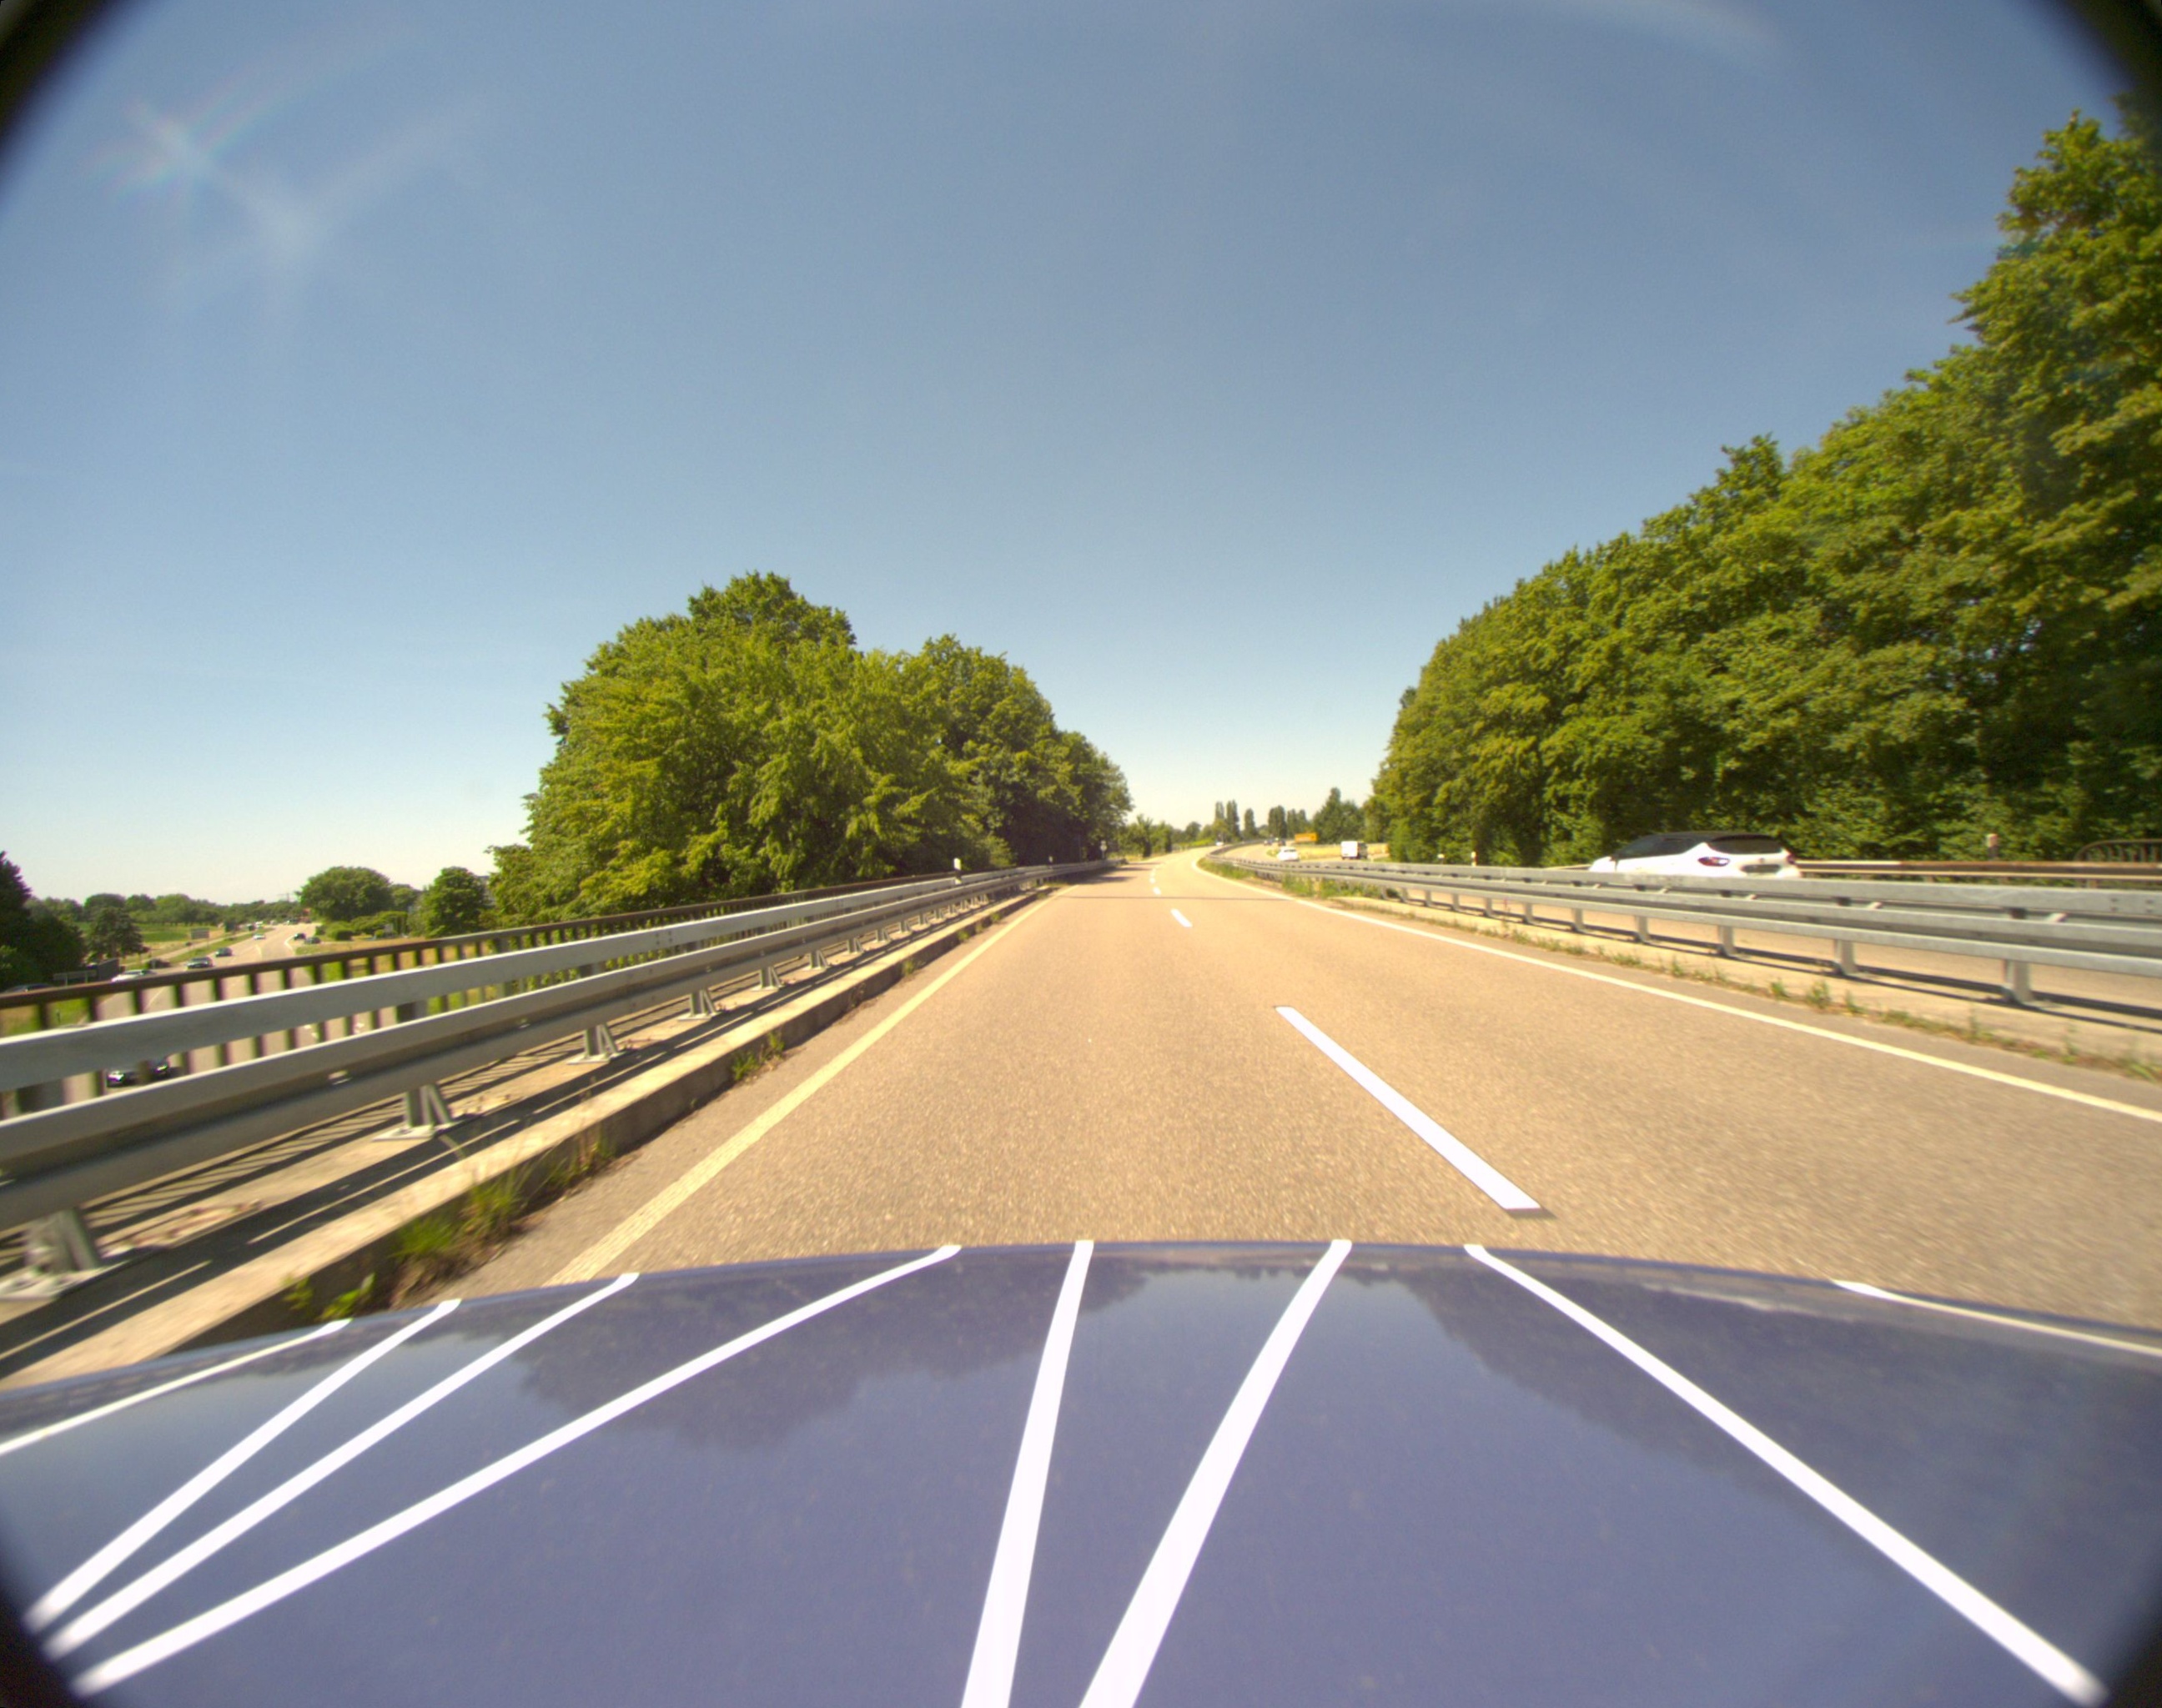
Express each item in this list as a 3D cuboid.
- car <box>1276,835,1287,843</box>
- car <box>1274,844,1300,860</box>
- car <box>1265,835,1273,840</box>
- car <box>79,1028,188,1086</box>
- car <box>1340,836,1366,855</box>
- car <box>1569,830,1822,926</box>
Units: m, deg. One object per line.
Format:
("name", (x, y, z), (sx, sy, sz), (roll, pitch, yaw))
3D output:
("car", (53.298, -3.971, 201.968), (1.996, 2.002, 4.005), (-4, 1, 22))
("car", (19.742, -0.204, 72.900), (1.655, 1.439, 4.220), (-2, 0, 4))
("car", (53.913, -4.724, 217.949), (1.826, 1.608, 4.546), (-1, 0, 21))
("car", (-44.712, 9.529, 35.873), (3.991, 2.002, 2.002), (-3, 2, 22))
("car", (29.809, -0.933, 83.211), (1.991, 1.940, 5.649), (-1, 1, 26))
("car", (11.923, 0.402, 15.179), (1.655, 1.597, 4.219), (-2, 0, 1))
